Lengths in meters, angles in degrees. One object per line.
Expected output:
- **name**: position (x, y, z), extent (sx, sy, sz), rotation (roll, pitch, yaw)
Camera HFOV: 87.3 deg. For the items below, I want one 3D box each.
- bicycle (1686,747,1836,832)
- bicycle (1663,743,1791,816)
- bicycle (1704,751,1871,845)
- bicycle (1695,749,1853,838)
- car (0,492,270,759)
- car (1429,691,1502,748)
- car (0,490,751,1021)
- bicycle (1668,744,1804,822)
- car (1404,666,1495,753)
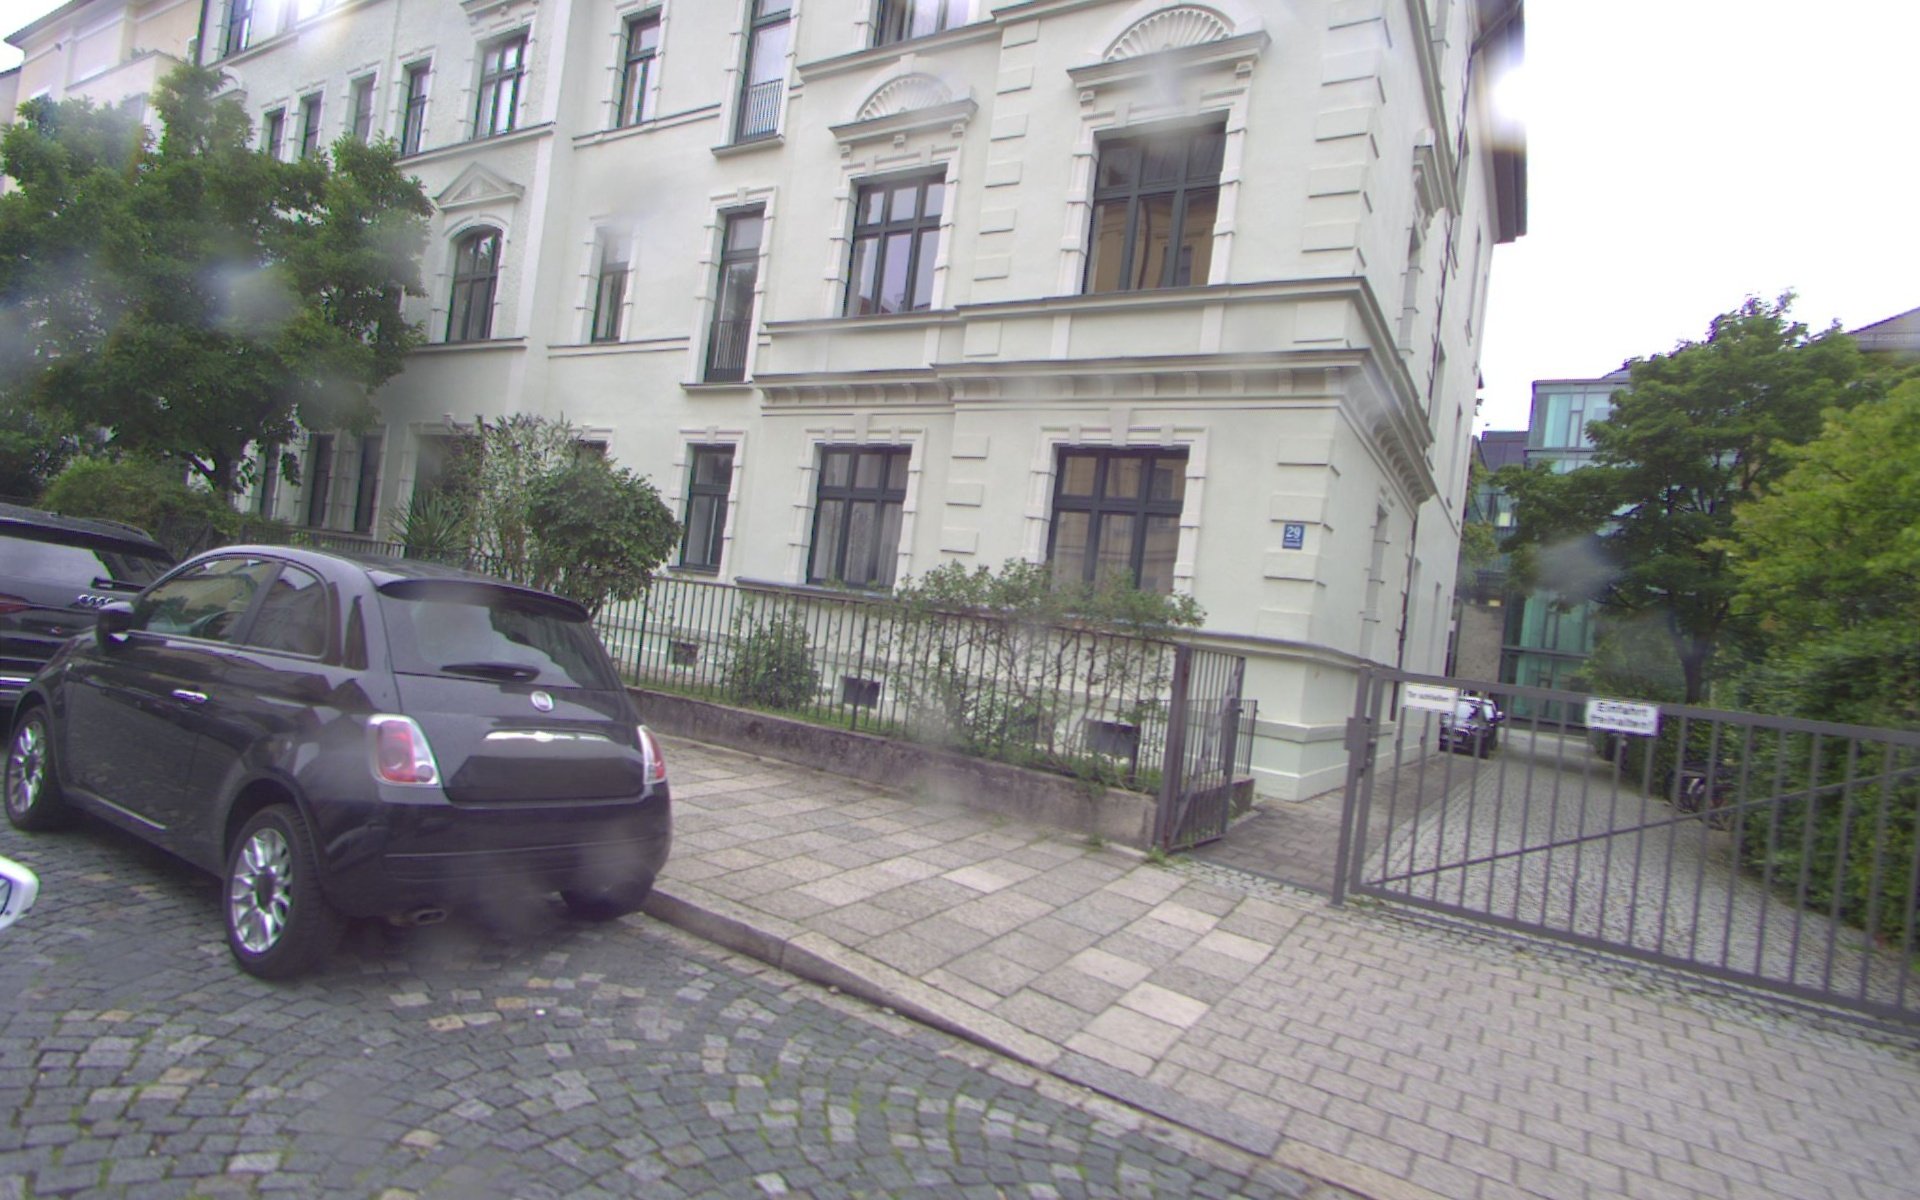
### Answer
- **bicycle**: position (12.926, 3.041, 16.305), extent (1.779, 1.021, 0.664), rotation (4, 0, 35)
- **bicycle**: position (14.154, 3.293, 18.623), extent (1.779, 1.021, 0.575), rotation (4, 0, 35)
- **bicycle**: position (12.142, 2.880, 14.836), extent (1.779, 1.021, 0.664), rotation (4, 0, 35)
- **bicycle**: position (12.585, 2.969, 15.631), extent (1.779, 1.021, 0.664), rotation (4, 0, 35)
- **car**: position (-7.463, -0.040, 7.436), extent (5.021, 1.518, 1.910), rotation (7, -4, 32)
- **car**: position (16.881, 3.917, 33.499), extent (1.966, 1.493, 3.993), rotation (5, -1, 29)
- **car**: position (-3.022, 0.491, 4.813), extent (3.624, 1.524, 1.672), rotation (7, -4, 31)
- **bicycle**: position (13.475, 3.162, 17.536), extent (1.779, 1.021, 0.664), rotation (4, 0, 35)
- **car**: position (13.699, 2.960, 28.043), extent (1.966, 2.038, 3.993), rotation (5, -1, 29)
